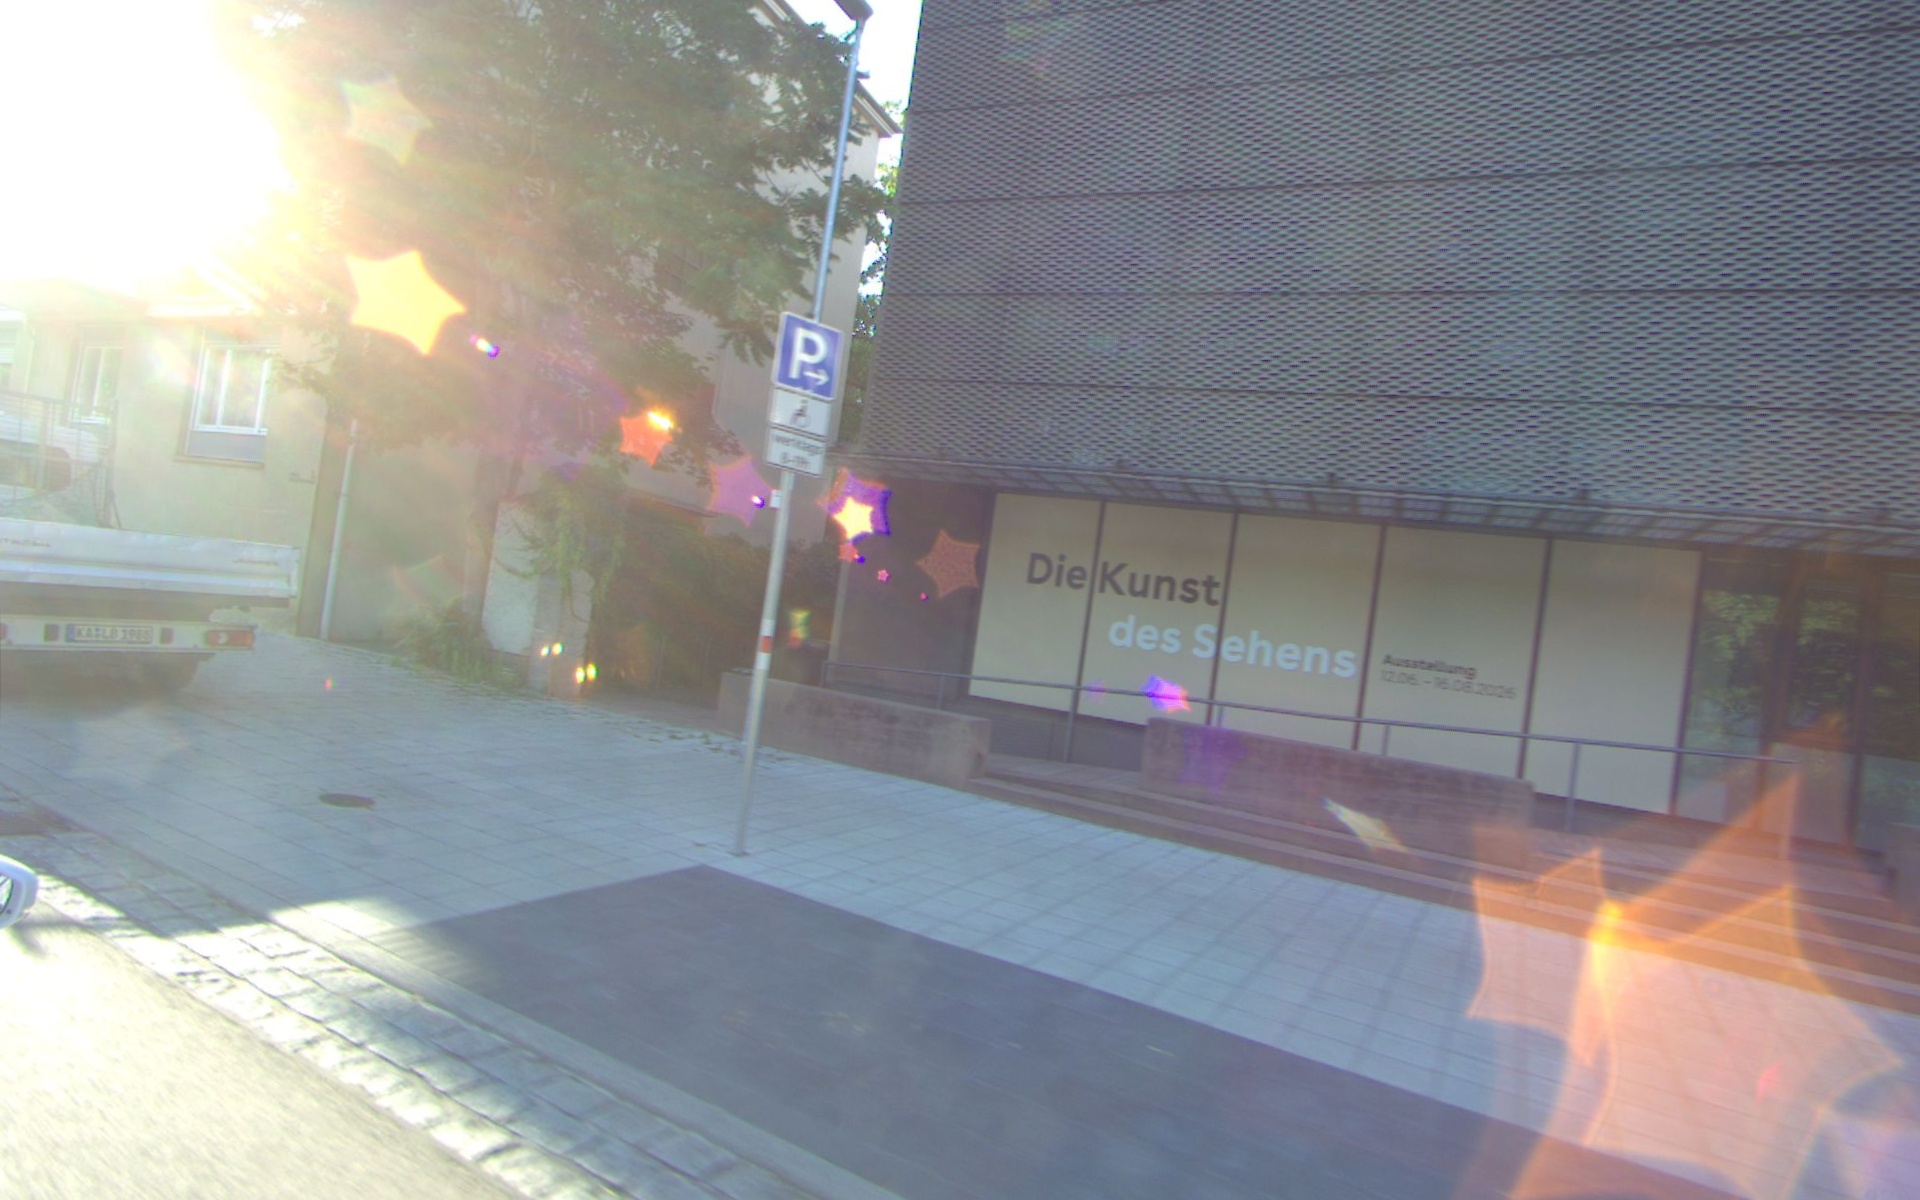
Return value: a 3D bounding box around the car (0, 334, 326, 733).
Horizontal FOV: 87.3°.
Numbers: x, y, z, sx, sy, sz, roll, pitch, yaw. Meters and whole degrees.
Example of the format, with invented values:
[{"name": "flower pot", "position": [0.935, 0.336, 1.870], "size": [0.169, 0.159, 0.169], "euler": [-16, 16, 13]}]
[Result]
[{"name": "car", "position": [-8.414, -0.684, 8.645], "size": [6.042, 2.561, 2.215], "euler": [7, 0, 29]}]
